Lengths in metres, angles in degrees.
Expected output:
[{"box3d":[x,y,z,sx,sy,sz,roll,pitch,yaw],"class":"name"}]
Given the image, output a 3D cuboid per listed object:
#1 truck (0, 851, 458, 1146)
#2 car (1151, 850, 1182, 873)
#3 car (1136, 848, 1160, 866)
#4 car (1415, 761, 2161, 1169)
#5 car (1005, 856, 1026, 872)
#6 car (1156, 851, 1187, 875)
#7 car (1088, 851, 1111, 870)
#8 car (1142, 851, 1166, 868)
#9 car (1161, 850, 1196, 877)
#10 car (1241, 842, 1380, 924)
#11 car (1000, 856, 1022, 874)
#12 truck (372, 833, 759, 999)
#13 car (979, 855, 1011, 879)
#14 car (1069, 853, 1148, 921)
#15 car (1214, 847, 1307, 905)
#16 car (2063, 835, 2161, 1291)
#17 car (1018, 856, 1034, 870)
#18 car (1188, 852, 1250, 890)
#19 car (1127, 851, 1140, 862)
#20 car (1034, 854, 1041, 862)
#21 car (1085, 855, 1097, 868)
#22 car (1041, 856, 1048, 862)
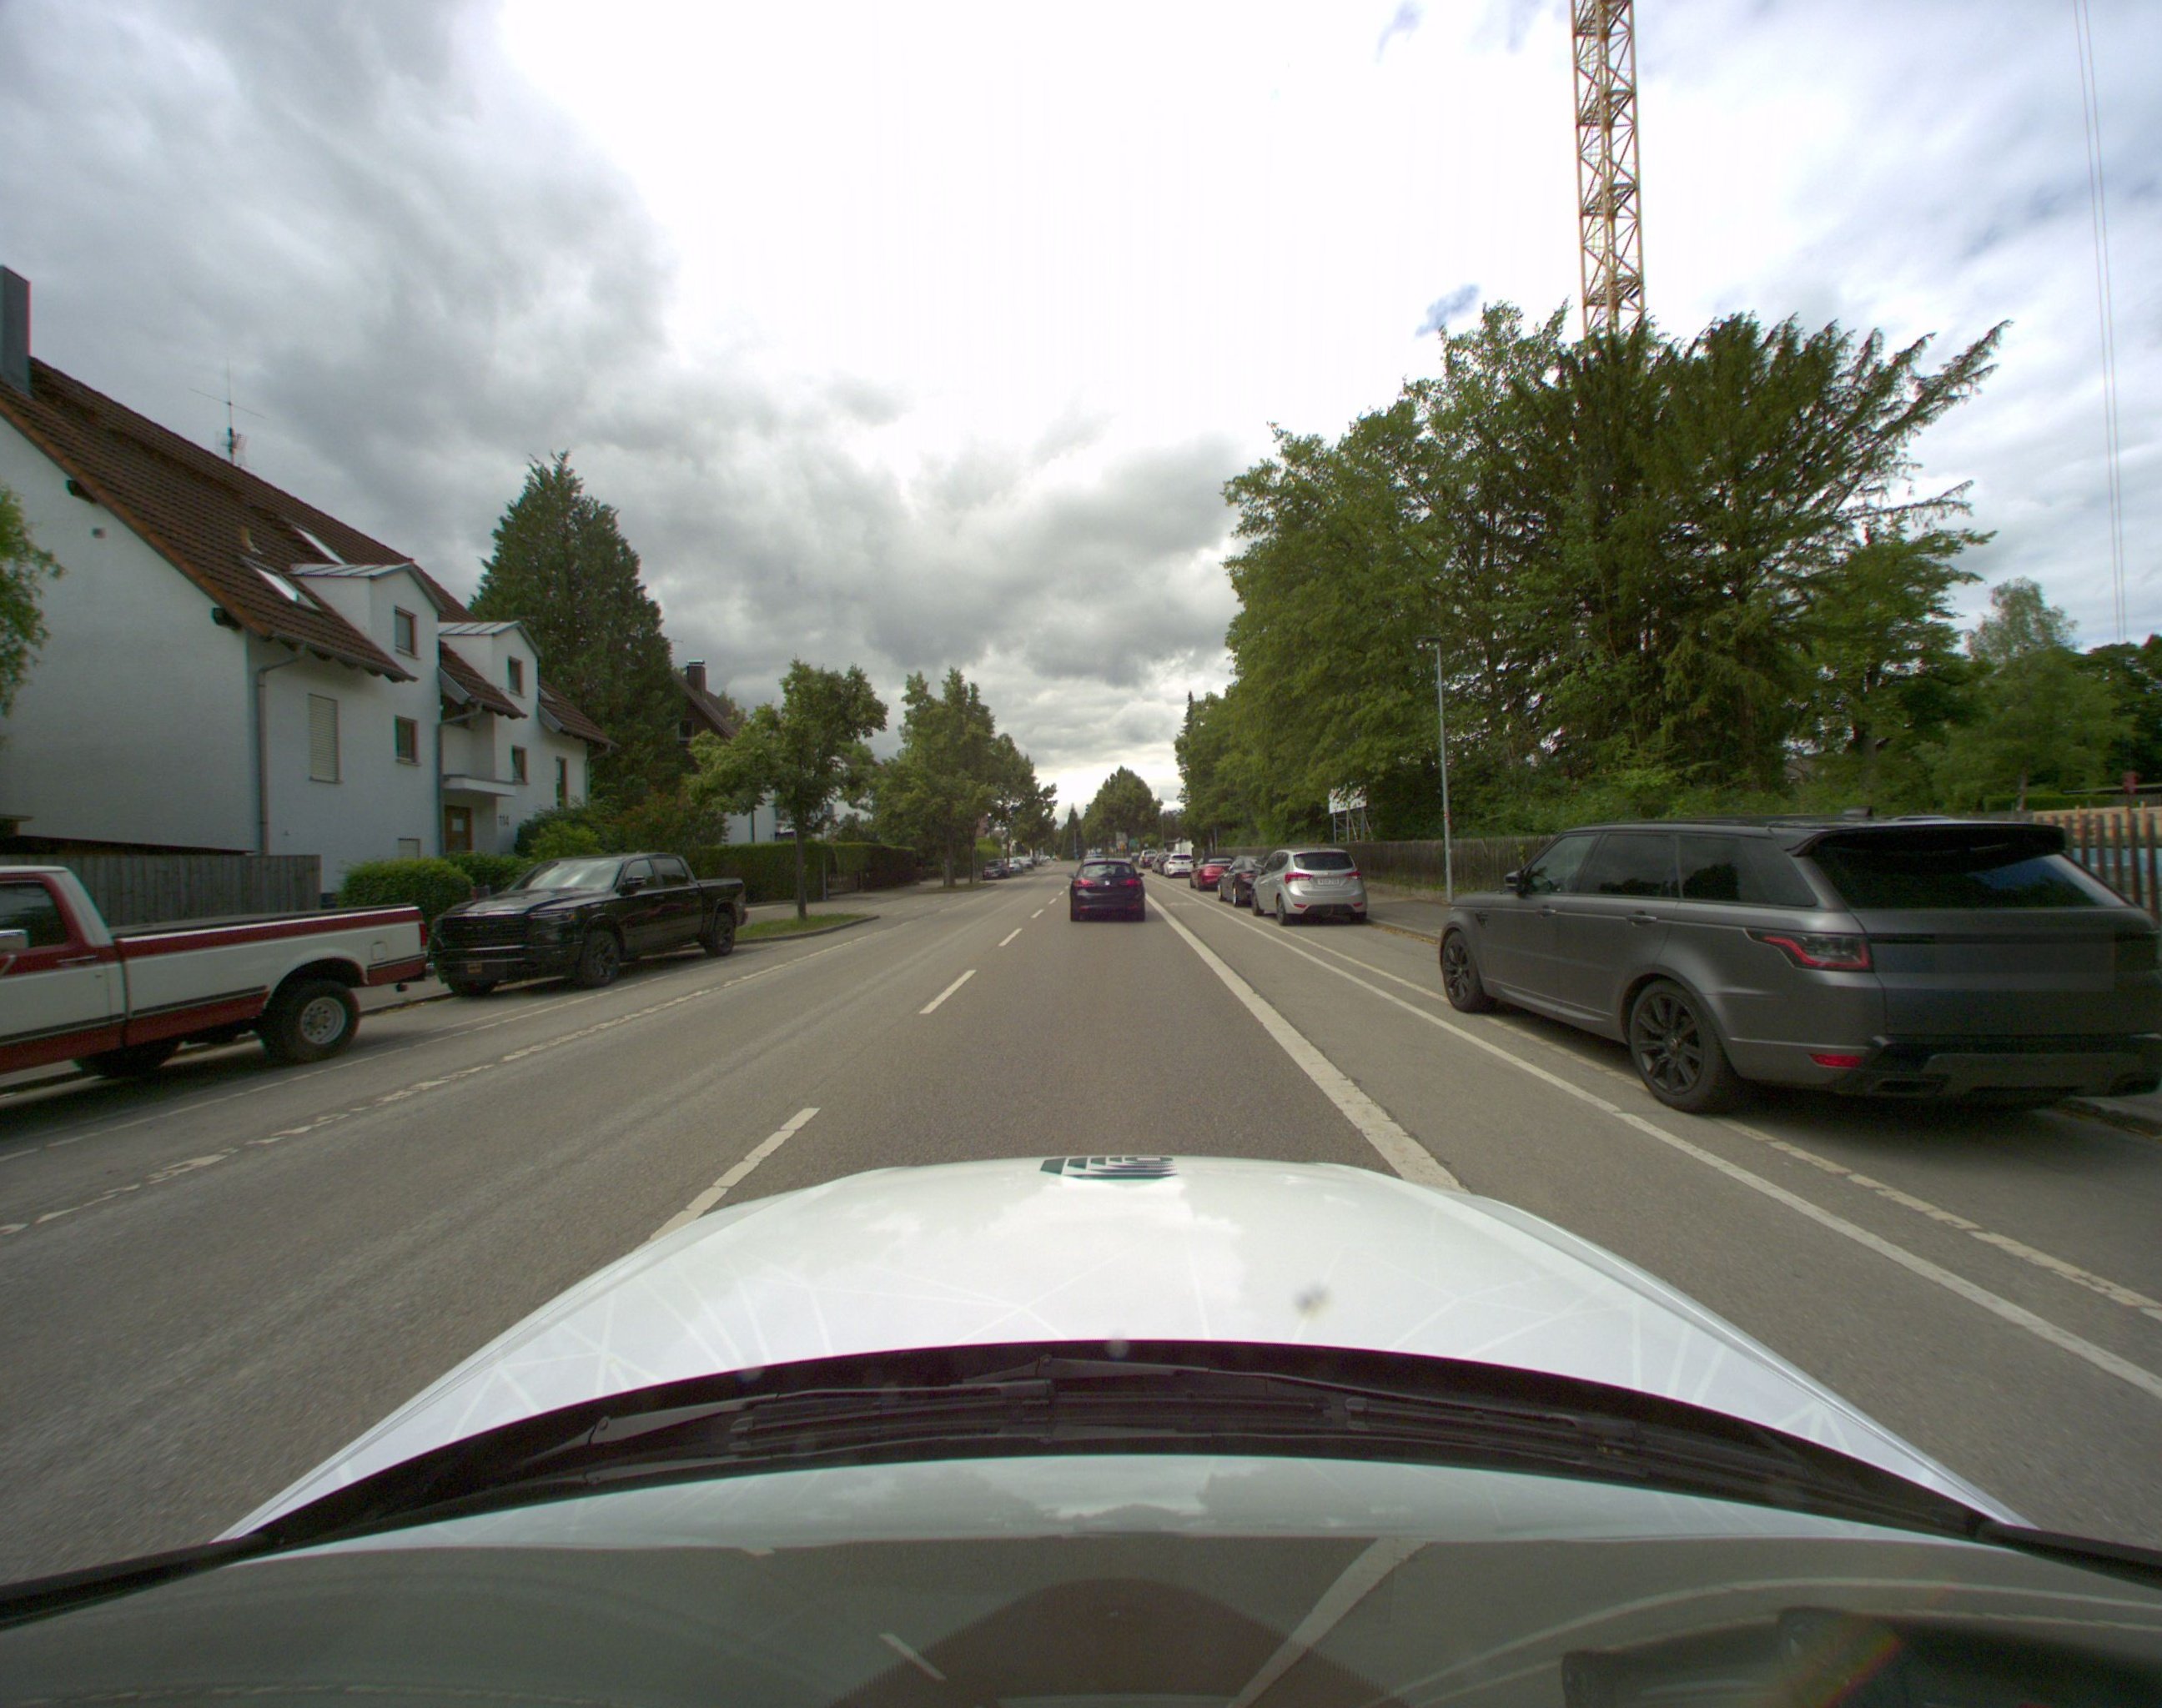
[{"box3d":[-7.841,0.983,5.948,1.959,1.868,5.667,-4,0,2],"class":"truck"},{"box3d":[6.257,0.546,60.145,1.855,1.611,4.686,-1,0,1],"class":"car"},{"box3d":[6.501,0.329,79.689,1.895,1.642,4.115,-3,0,-1],"class":"car"},{"box3d":[4.426,0.517,6.096,1.986,1.816,4.829,-1,0,2],"class":"car"},{"box3d":[-6.846,1.042,86.001,1.989,1.485,4.884,-3,0,-3],"class":"car"},{"box3d":[6.018,0.551,54.702,1.696,1.510,4.539,-1,0,2],"class":"car"},{"box3d":[1.650,0.573,74.486,1.987,1.613,4.000,-2,0,0],"class":"car"},{"box3d":[6.518,0.456,73.261,1.856,1.417,4.605,-2,0,2],"class":"car"},{"box3d":[5.818,0.563,48.975,1.761,1.510,4.032,-2,-1,2],"class":"car"},{"box3d":[5.025,0.579,18.482,1.856,1.589,4.420,-2,0,0],"class":"car"},{"box3d":[-6.566,1.005,77.206,1.713,1.613,3.908,-3,0,-1],"class":"car"},{"box3d":[-7.834,0.798,13.493,2.414,2.043,5.996,-2,0,1],"class":"truck"},{"box3d":[-6.595,0.991,62.917,2.090,1.647,5.034,-3,0,-2],"class":"car"},{"box3d":[0.673,0.734,19.983,1.725,1.486,4.002,-1,0,2],"class":"car"},{"box3d":[5.178,0.602,24.108,1.809,1.515,4.680,-1,0,1],"class":"car"},{"box3d":[4.385,0.654,0.969,1.679,1.501,3.920,-1,0,0],"class":"car"},{"box3d":[-6.360,1.023,95.044,1.673,1.552,4.269,-3,0,-2],"class":"car"},{"box3d":[5.553,0.636,33.260,1.852,1.413,4.444,0,1,1],"class":"car"},{"box3d":[7.482,0.400,116.600,1.607,1.377,4.386,-3,-1,0],"class":"car"},{"box3d":[-12.681,1.167,235.939,2.026,1.970,3.995,-3,0,-3],"class":"car"},{"box3d":[1.646,1.179,133.894,1.987,2.013,4.000,-2,0,0],"class":"car"},{"box3d":[-9.804,1.352,217.995,1.793,1.601,3.997,-3,0,-2],"class":"car"}]
